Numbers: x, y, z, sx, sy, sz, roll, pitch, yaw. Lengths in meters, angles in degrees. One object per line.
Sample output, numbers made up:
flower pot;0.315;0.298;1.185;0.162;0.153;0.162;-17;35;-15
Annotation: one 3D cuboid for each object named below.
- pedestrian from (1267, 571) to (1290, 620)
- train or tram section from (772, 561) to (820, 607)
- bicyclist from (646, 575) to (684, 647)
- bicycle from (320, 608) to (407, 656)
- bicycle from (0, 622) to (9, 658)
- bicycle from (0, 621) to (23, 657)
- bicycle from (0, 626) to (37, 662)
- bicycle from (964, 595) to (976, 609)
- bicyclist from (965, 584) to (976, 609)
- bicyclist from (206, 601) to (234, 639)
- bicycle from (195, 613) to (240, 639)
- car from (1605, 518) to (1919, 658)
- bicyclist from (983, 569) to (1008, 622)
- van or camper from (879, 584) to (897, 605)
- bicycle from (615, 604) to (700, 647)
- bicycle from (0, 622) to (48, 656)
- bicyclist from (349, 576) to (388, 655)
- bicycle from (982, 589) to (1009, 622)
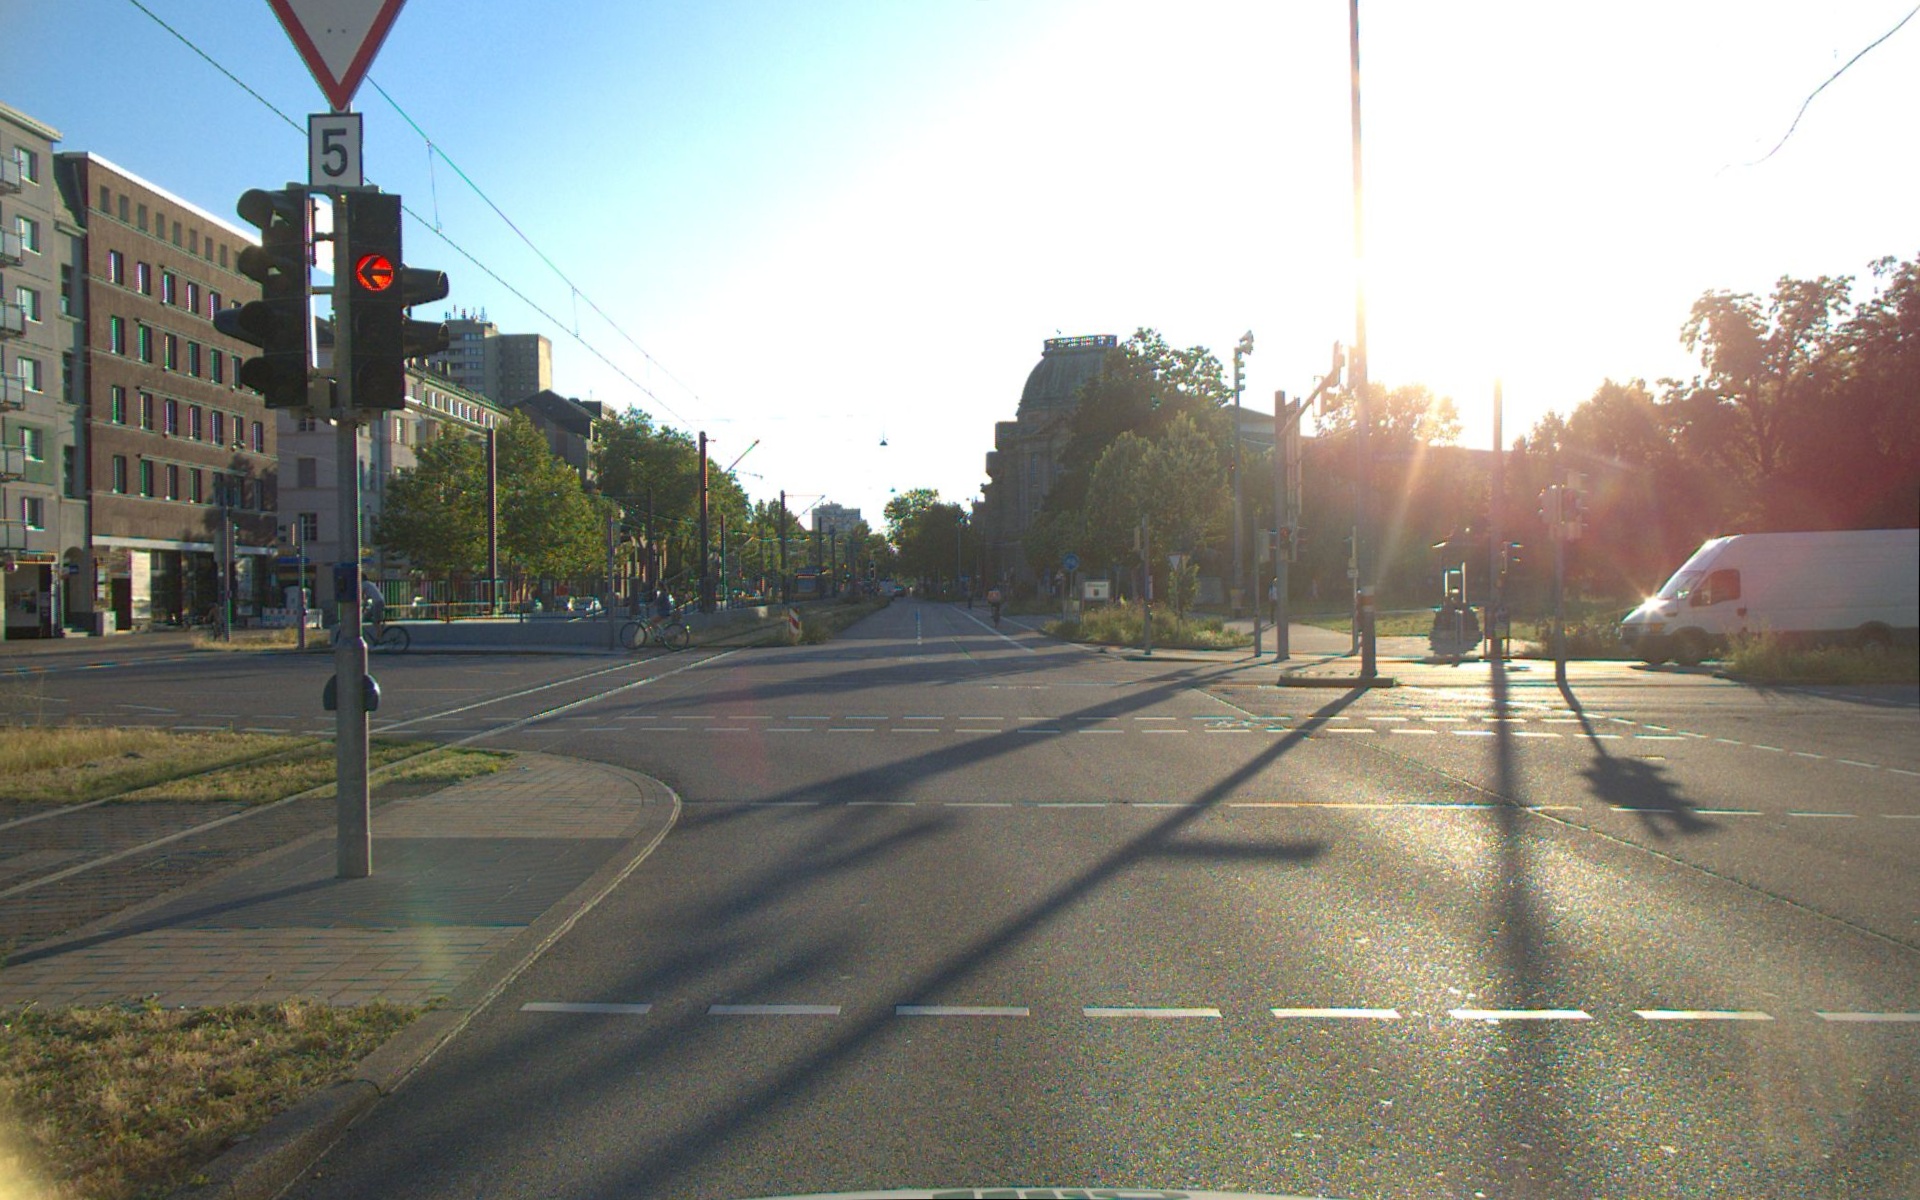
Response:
pedestrian;12.226;-0.174;63.498;0.815;1.835;0.811;-1;0;14
train or tram section;-15.335;-1.596;155.623;4.301;3.916;11.401;-1;2;-5
bicyclist;-7.642;0.281;42.827;0.858;1.850;0.538;0;0;1
bicycle;-14.118;0.753;39.172;1.869;1.094;0.630;-1;0;-14
bicycle;-32.921;1.352;55.479;1.655;1.173;0.705;-1;0;1
bicycle;-32.910;1.334;56.235;1.655;1.199;0.748;-1;0;1
bicycle;-32.869;1.512;57.010;1.655;1.190;0.748;-1;0;1
bicycle;0.843;0.184;134.768;0.905;1.131;2.332;-1;0;-1
bicyclist;0.836;-0.287;134.836;0.907;2.049;0.850;0;0;-1
bicyclist;-28.688;0.759;64.092;0.489;1.451;0.857;-1;0;25
bicycle;-28.729;1.007;63.992;0.498;0.961;1.667;-1;0;25
car;17.809;-0.255;35.775;6.866;2.877;2.093;-1;0;1
bicyclist;1.572;-0.212;73.440;1.060;2.316;0.986;0;0;-1
van or camper;-9.592;-0.748;220.581;2.400;2.819;5.598;-1;0;-3
bicycle;-7.828;0.660;42.835;2.119;1.102;0.539;0;-1;1
bicycle;-32.857;1.368;57.742;1.655;1.164;0.697;-1;0;1
bicyclist;-14.015;0.355;39.209;0.779;1.850;0.644;-1;0;-12
bicycle;1.575;0.236;73.530;1.075;1.423;2.831;-1;0;-1
